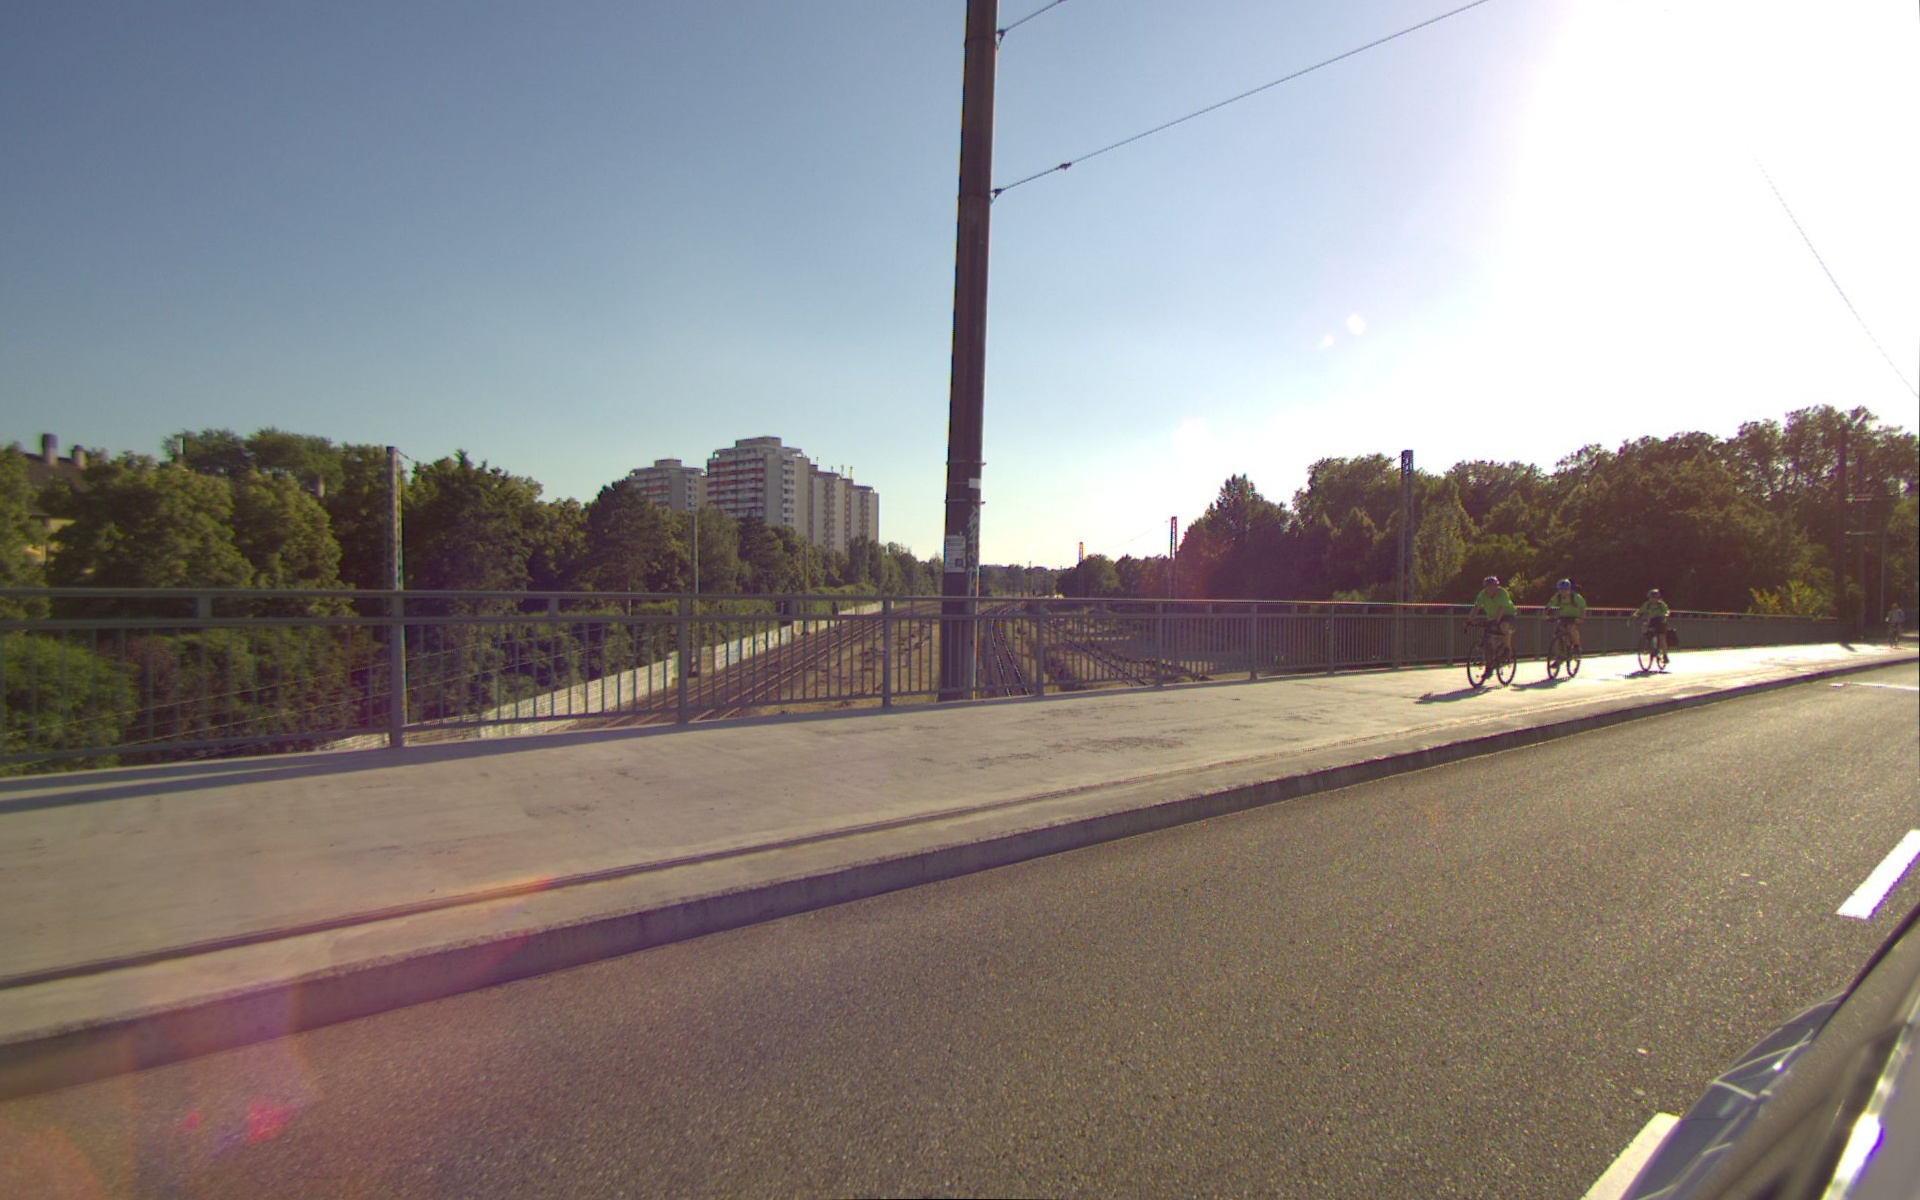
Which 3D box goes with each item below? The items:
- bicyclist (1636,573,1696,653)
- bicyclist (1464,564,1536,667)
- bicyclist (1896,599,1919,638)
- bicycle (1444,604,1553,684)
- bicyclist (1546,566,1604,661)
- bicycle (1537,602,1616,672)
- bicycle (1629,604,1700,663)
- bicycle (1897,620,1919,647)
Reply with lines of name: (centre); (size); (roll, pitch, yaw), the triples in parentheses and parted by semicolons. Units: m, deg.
bicyclist: (14.476, 0.258, 20.737); (0.881, 1.582, 0.813); (1, -1, -41)
bicyclist: (8.265, 0.225, 15.483); (0.987, 1.527, 0.627); (0, 0, -38)
bicyclist: (41.679, 0.811, 44.422); (1.182, 1.711, 0.731); (0, -2, -44)
bicycle: (8.268, 0.636, 15.485); (2.218, 1.136, 0.626); (0, 0, -38)
bicyclist: (10.861, 0.223, 17.869); (0.915, 1.612, 0.626); (0, 1, -41)
bicycle: (10.897, 0.629, 17.854); (2.006, 1.136, 0.626); (-1, 1, -41)
bicycle: (14.449, 0.677, 20.728); (2.177, 1.137, 0.684); (1, 0, -41)
bicycle: (41.682, 1.454, 44.376); (2.697, 1.137, 0.731); (0, -2, -44)
